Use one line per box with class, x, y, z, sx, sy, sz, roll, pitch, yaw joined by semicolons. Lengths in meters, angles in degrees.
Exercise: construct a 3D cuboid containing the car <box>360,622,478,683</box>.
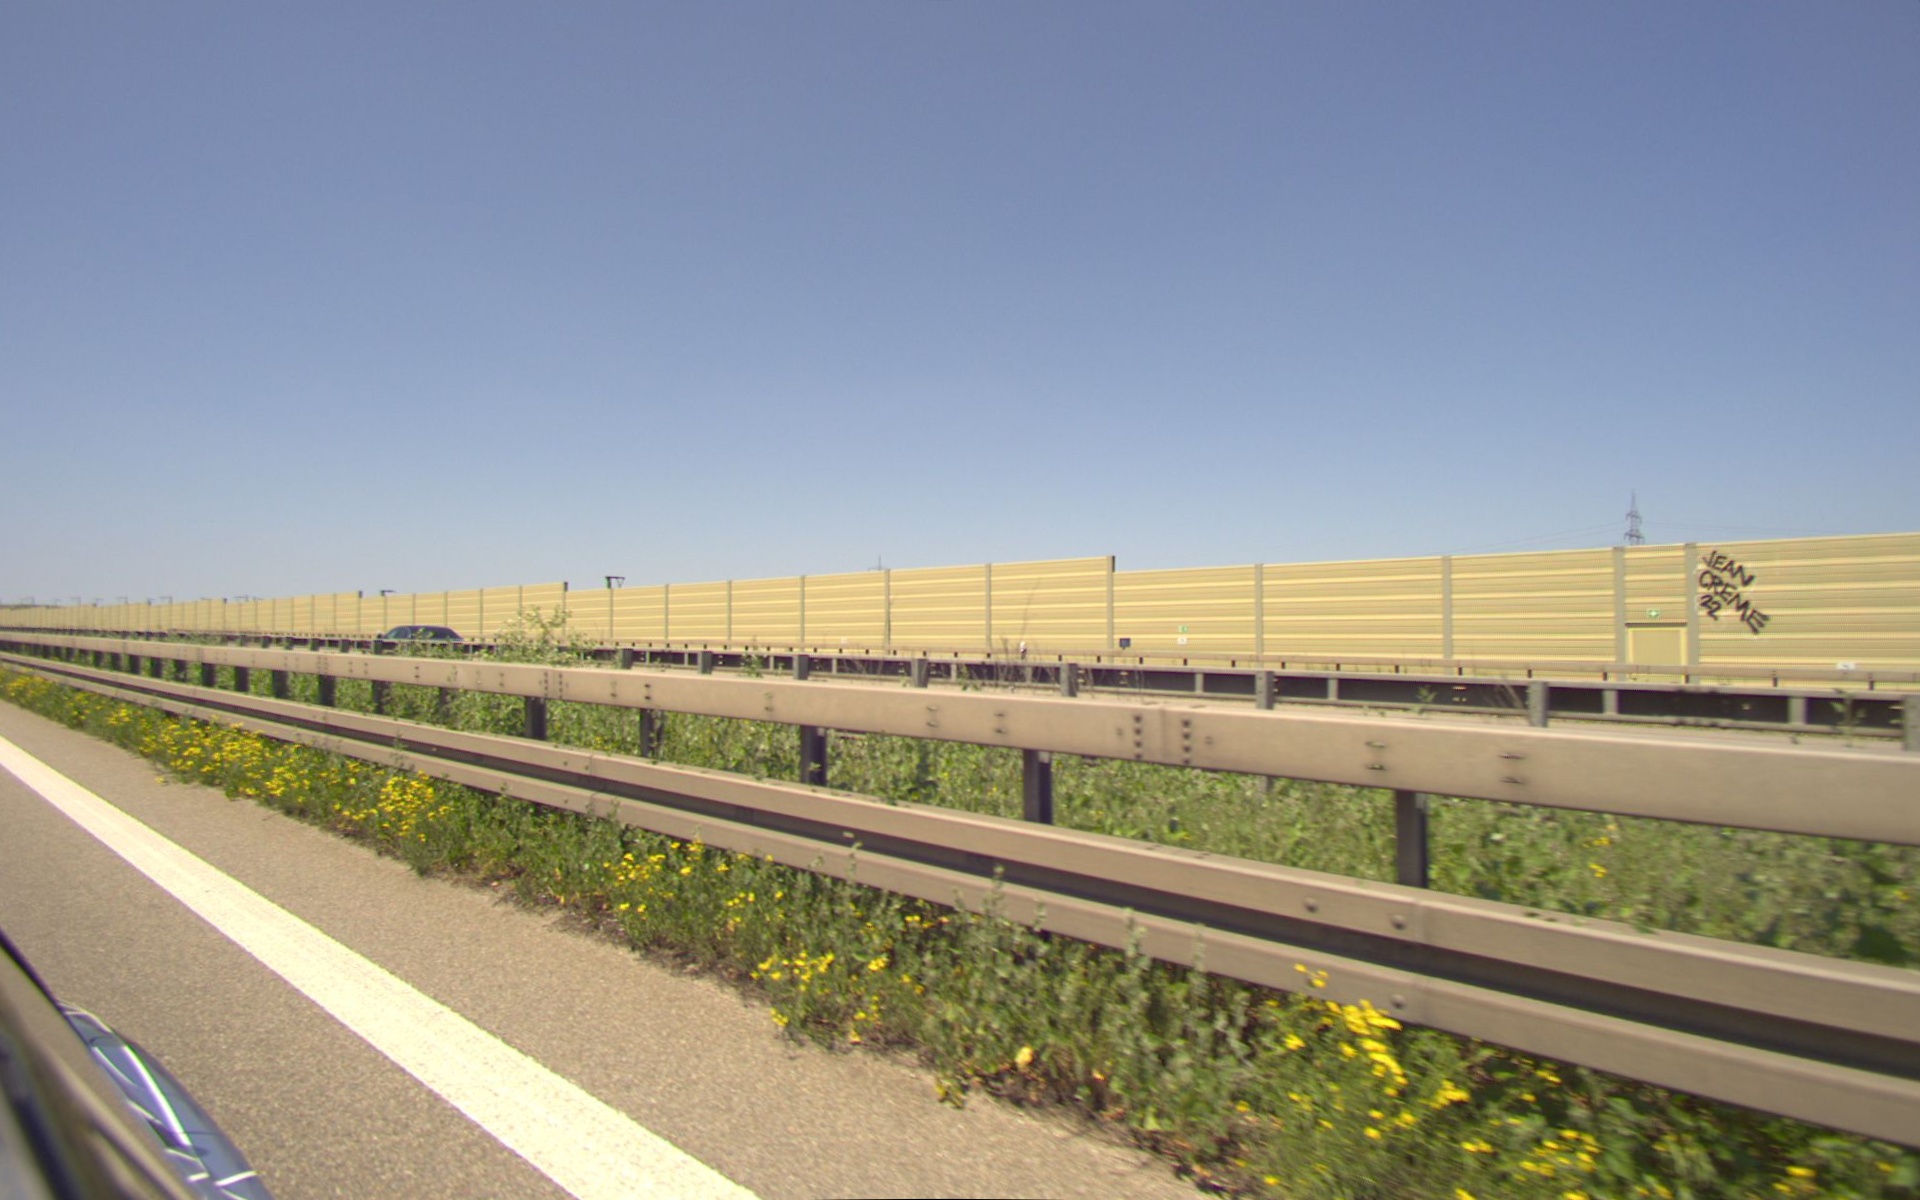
car;-16.926;1.571;31.610;3.998;1.696;1.973;-1;0;41
